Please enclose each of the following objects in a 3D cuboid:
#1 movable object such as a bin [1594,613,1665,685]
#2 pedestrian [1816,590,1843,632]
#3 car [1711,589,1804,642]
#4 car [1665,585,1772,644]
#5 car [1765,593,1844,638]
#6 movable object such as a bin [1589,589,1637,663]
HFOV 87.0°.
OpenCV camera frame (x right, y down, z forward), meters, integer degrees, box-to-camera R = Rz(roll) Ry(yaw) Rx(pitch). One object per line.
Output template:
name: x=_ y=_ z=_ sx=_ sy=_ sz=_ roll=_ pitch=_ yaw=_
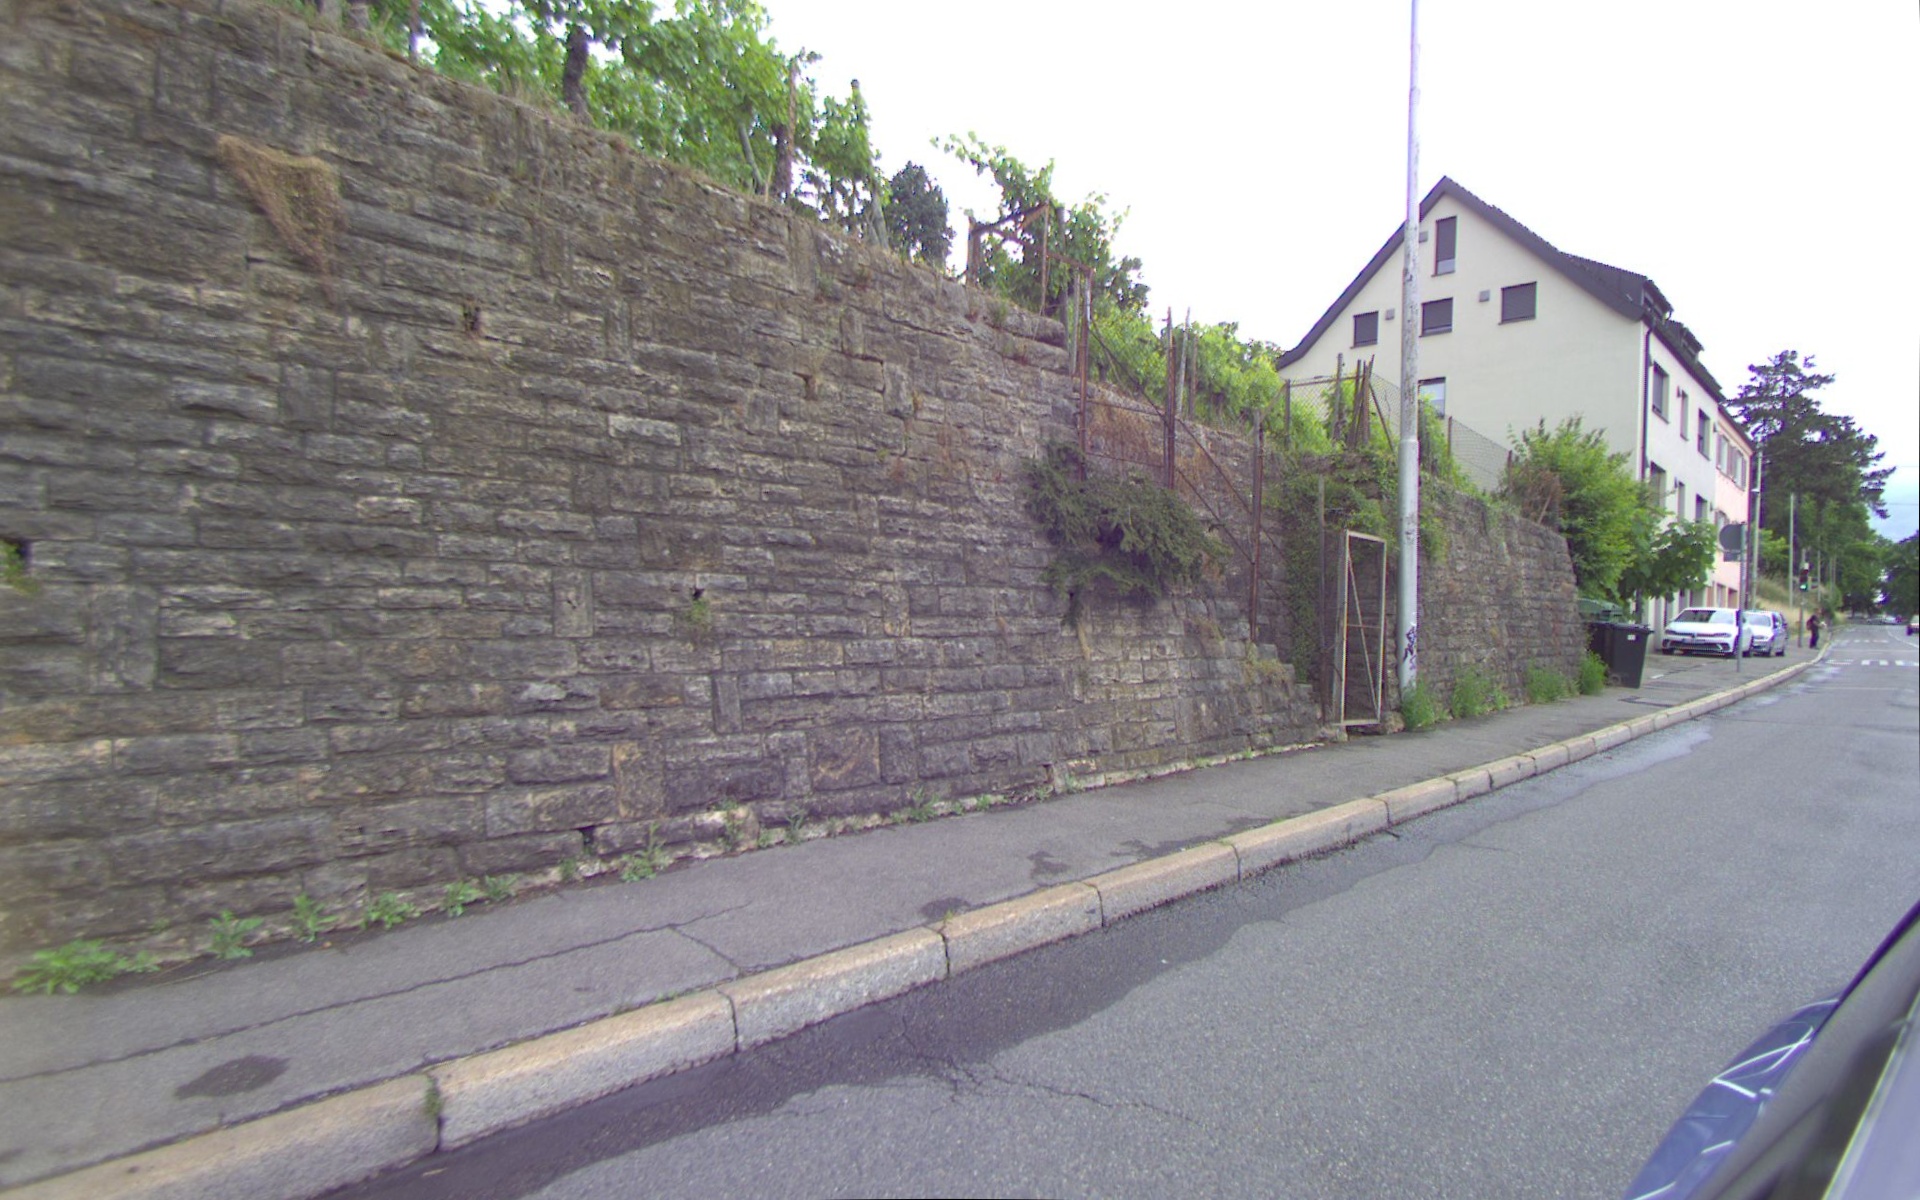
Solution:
movable object such as a bin: x=11.295 y=0.802 z=17.070 sx=0.860 sy=1.141 sz=0.810 roll=1 pitch=0 yaw=-43
pedestrian: x=35.985 y=0.445 z=41.886 sx=0.683 sy=1.733 sz=0.735 roll=1 pitch=0 yaw=-40
car: x=25.799 y=0.448 z=32.710 sx=4.177 sy=1.595 sz=1.729 roll=0 pitch=0 yaw=-43
car: x=22.180 y=0.381 z=29.536 sx=3.987 sy=1.595 sz=1.796 roll=0 pitch=0 yaw=-43
car: x=31.763 y=0.550 z=38.033 sx=4.180 sy=1.595 sz=1.904 roll=0 pitch=0 yaw=-45
movable object such as a bin: x=14.248 y=0.552 z=22.082 sx=0.750 sy=1.562 sz=1.049 roll=0 pitch=0 yaw=41
